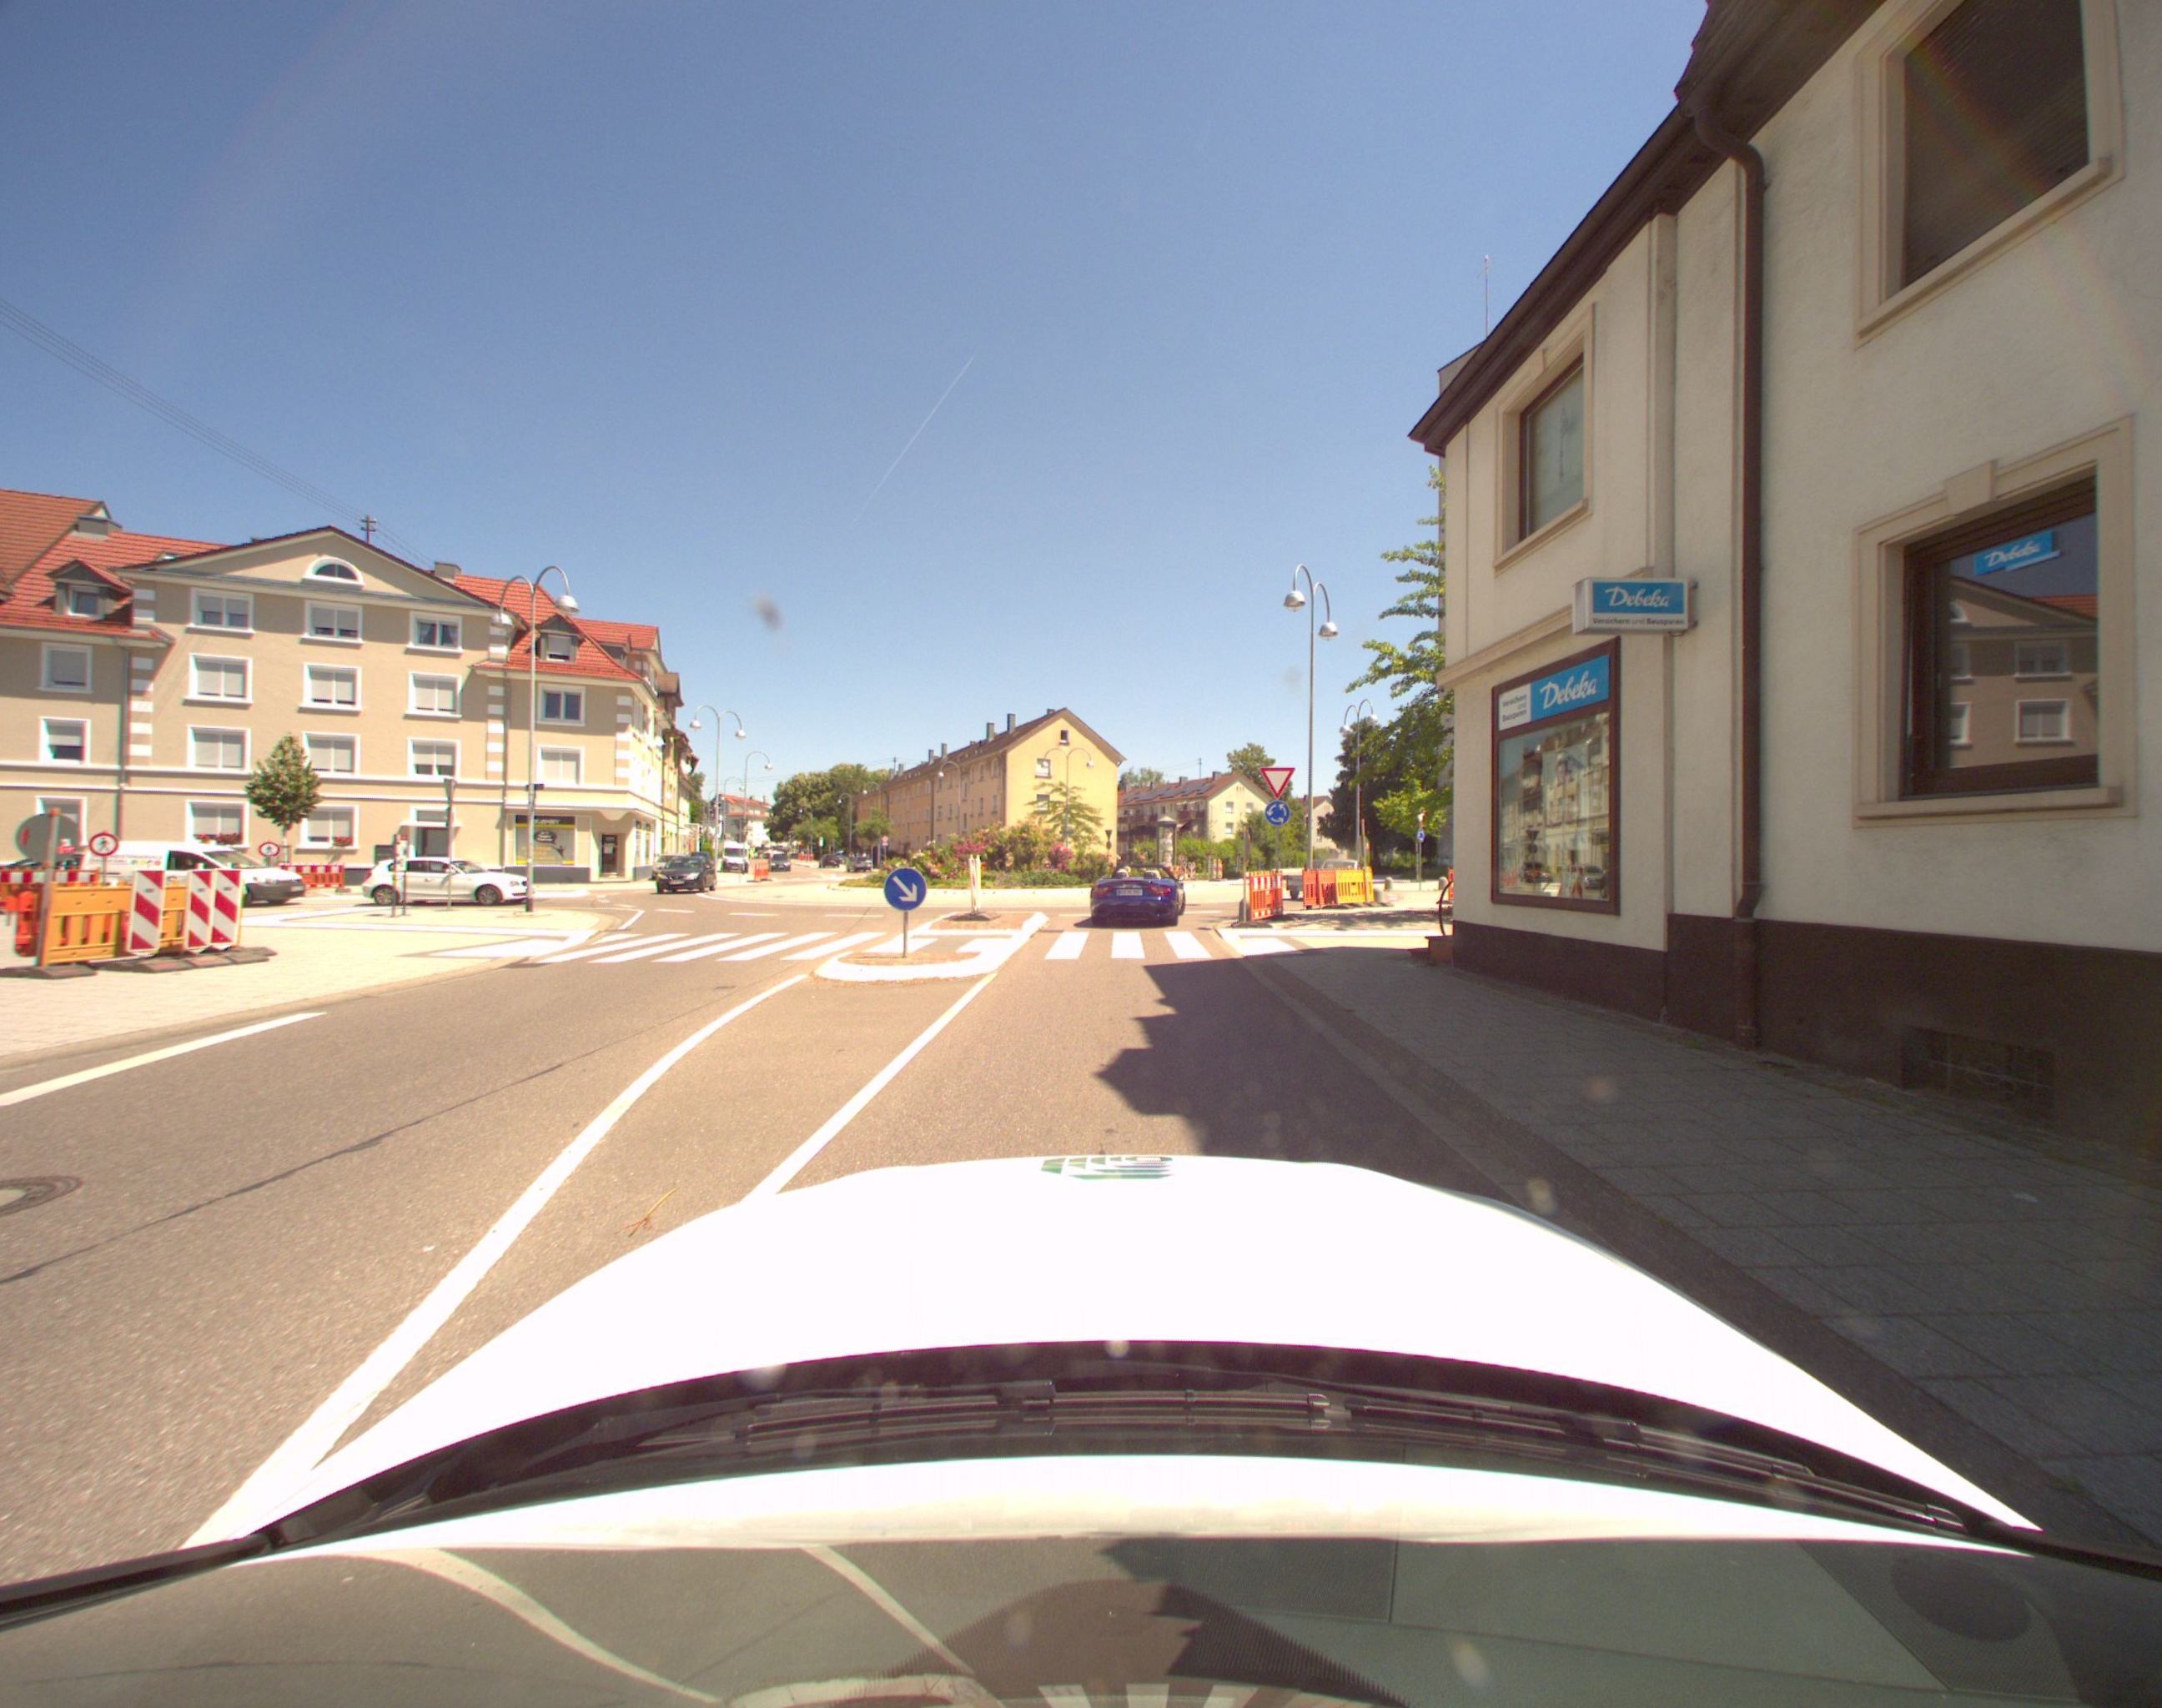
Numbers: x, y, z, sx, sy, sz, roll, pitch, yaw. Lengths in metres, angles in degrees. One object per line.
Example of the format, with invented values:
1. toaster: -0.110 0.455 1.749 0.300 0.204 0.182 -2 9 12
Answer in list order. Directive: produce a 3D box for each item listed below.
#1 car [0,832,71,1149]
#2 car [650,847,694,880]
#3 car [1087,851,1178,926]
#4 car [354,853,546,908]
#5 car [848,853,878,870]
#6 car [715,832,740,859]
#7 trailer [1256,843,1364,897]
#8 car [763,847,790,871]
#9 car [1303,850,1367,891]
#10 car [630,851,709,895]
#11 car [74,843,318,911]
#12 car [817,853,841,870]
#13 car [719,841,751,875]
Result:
1. car: -6.105 0.820 1.931 1.833 1.529 4.390 -5 2 -2
2. car: -22.687 0.513 45.284 1.783 1.686 4.659 1 0 -22
3. car: 1.268 0.765 19.124 1.862 1.530 4.512 1 -1 5
4. car: -18.754 0.772 24.403 4.117 1.551 1.780 0 -1 -11
5. car: -20.319 0.672 75.886 1.822 1.500 3.964 2 -1 -27
6. car: -35.527 -0.839 81.758 2.154 2.533 4.816 3 -1 -24
7. trailer: 7.683 0.524 27.359 3.206 1.717 1.740 1 0 -29
8. car: -26.761 0.459 71.692 1.999 2.014 3.974 2 -1 -19
9. car: 9.539 0.599 30.838 1.729 1.436 3.718 -1 0 8
10. car: -16.174 0.697 31.910 1.674 1.452 3.975 -3 4 -43
11. car: -24.548 0.637 22.790 4.240 1.777 1.771 1 -1 -17
12. car: -27.999 0.871 90.397 1.822 1.794 3.964 2 -1 -27
13. car: -28.454 0.328 66.879 2.154 2.533 6.187 3 -1 -24
